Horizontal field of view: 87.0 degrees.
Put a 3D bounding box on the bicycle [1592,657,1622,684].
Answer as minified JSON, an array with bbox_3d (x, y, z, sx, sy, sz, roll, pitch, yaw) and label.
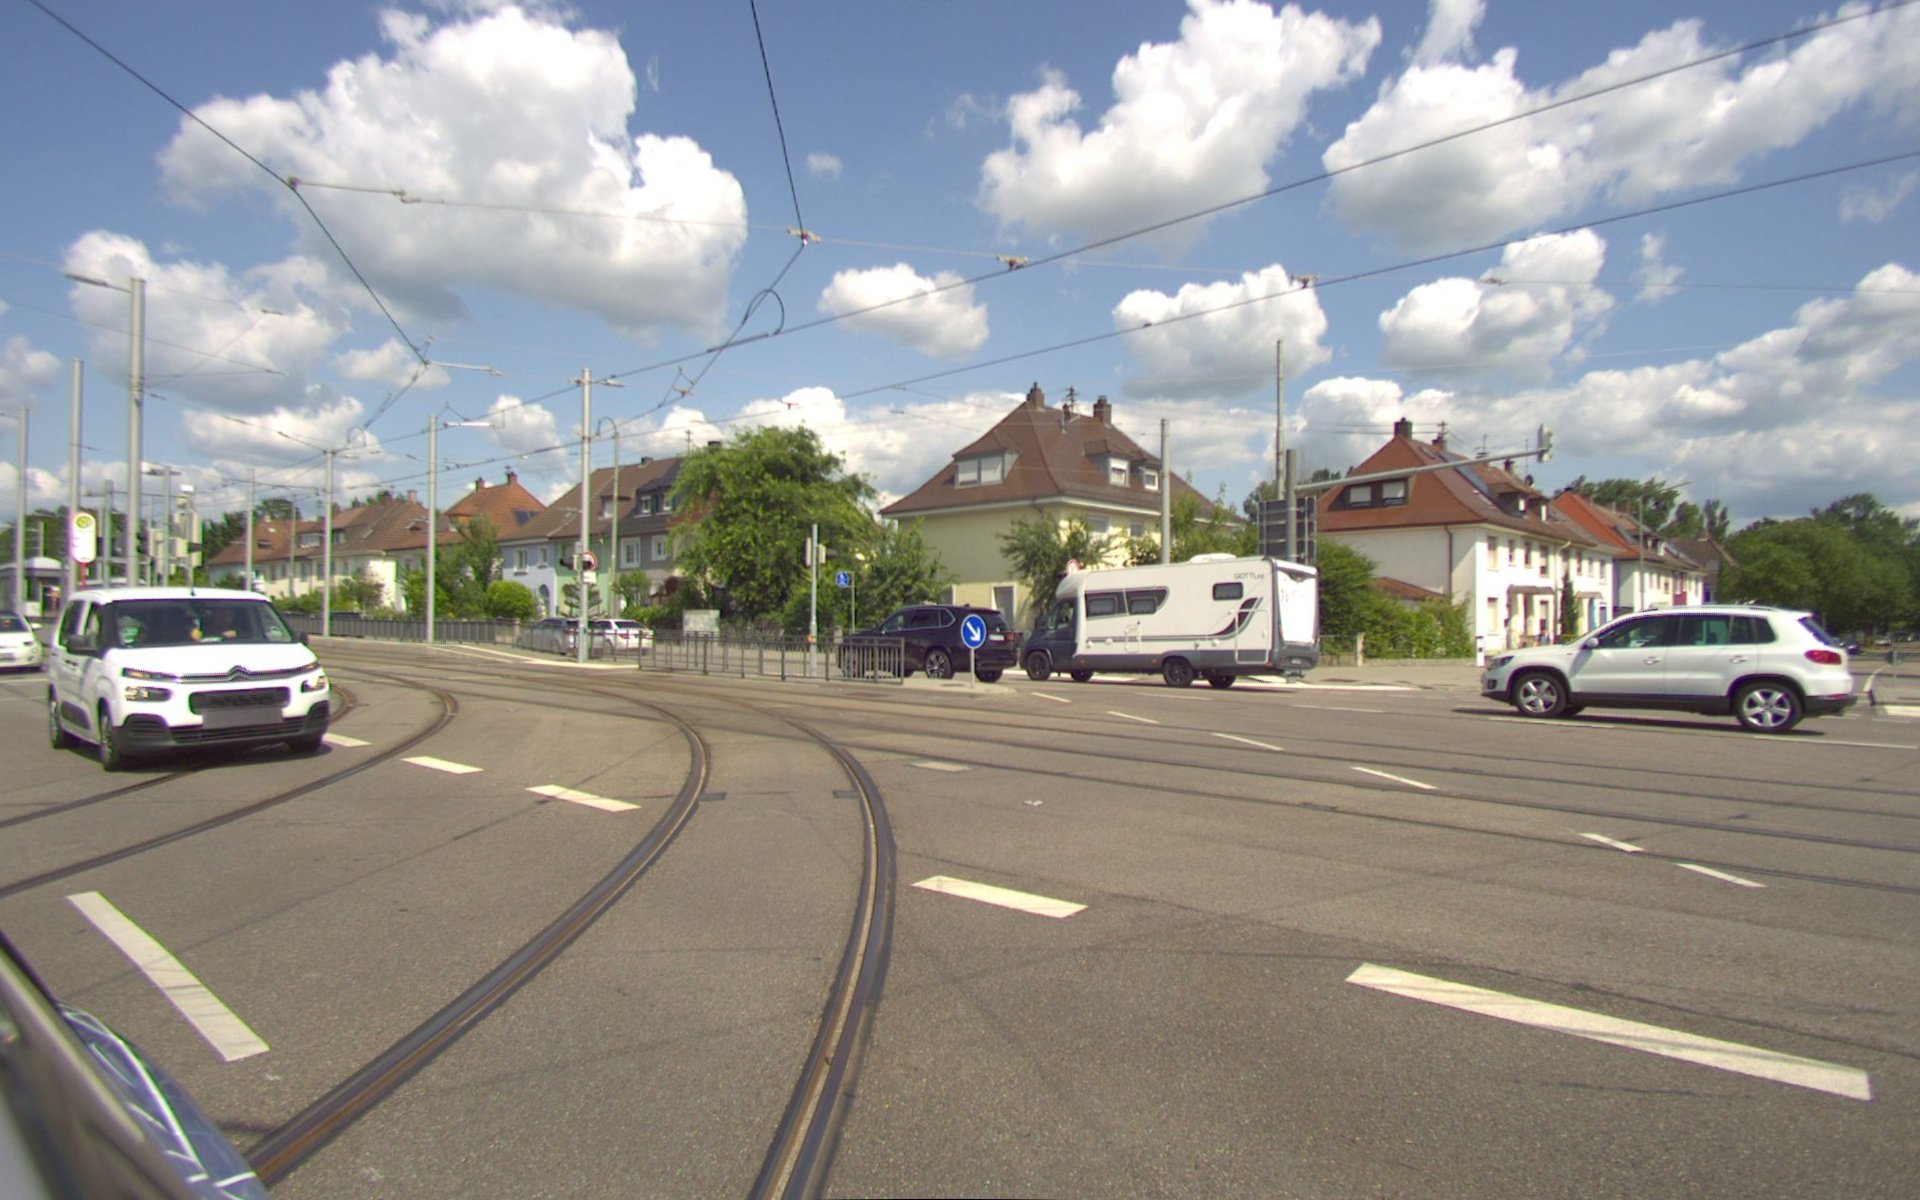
[{"bbox_3d":[23.806,2.576,37.221,0.602,0.841,1.784,0,1,43],"label":"bicycle"}]

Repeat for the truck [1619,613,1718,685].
[{"bbox_3d":[22.370,1.431,31.842,1.690,1.936,6.116,0,1,43],"label":"truck"}]

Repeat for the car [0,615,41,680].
[{"bbox_3d":[-24.044,1.144,24.844,3.389,1.515,1.660,-1,0,38],"label":"car"}]

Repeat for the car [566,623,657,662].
[{"bbox_3d":[-14.023,1.653,40.594,4.346,1.362,1.665,0,1,44],"label":"car"}]

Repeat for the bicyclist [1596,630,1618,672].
[{"bbox_3d":[23.824,1.871,37.244,0.602,1.509,0.494,0,0,43],"label":"bicyclist"}]

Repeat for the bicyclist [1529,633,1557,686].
[{"bbox_3d":[17.506,1.783,30.407,0.602,1.520,0.636,0,0,43],"label":"bicyclist"}]

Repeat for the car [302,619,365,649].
[{"bbox_3d":[-32.485,1.732,52.464,4.176,1.362,1.666,0,1,42],"label":"car"}]

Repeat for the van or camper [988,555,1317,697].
[{"bbox_3d":[4.362,0.606,24.448,7.754,2.952,2.299,-1,-3,43],"label":"van or camper"}]

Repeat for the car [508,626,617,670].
[{"bbox_3d":[-14.279,1.664,36.263,4.176,1.362,1.972,0,1,42],"label":"car"}]

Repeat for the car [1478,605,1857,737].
[{"bbox_3d":[9.850,0.926,14.277,4.176,1.564,1.972,0,-4,42],"label":"car"}]

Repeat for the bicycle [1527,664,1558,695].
[{"bbox_3d":[17.503,2.381,30.412,0.602,0.841,1.067,0,1,43],"label":"bicycle"}]

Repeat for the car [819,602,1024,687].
[{"bbox_3d":[-0.994,1.019,23.776,4.879,1.790,1.971,-1,-3,44],"label":"car"}]

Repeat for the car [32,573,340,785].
[{"bbox_3d":[-8.414,0.731,10.850,4.327,1.829,1.776,-2,-1,41],"label":"car"}]
